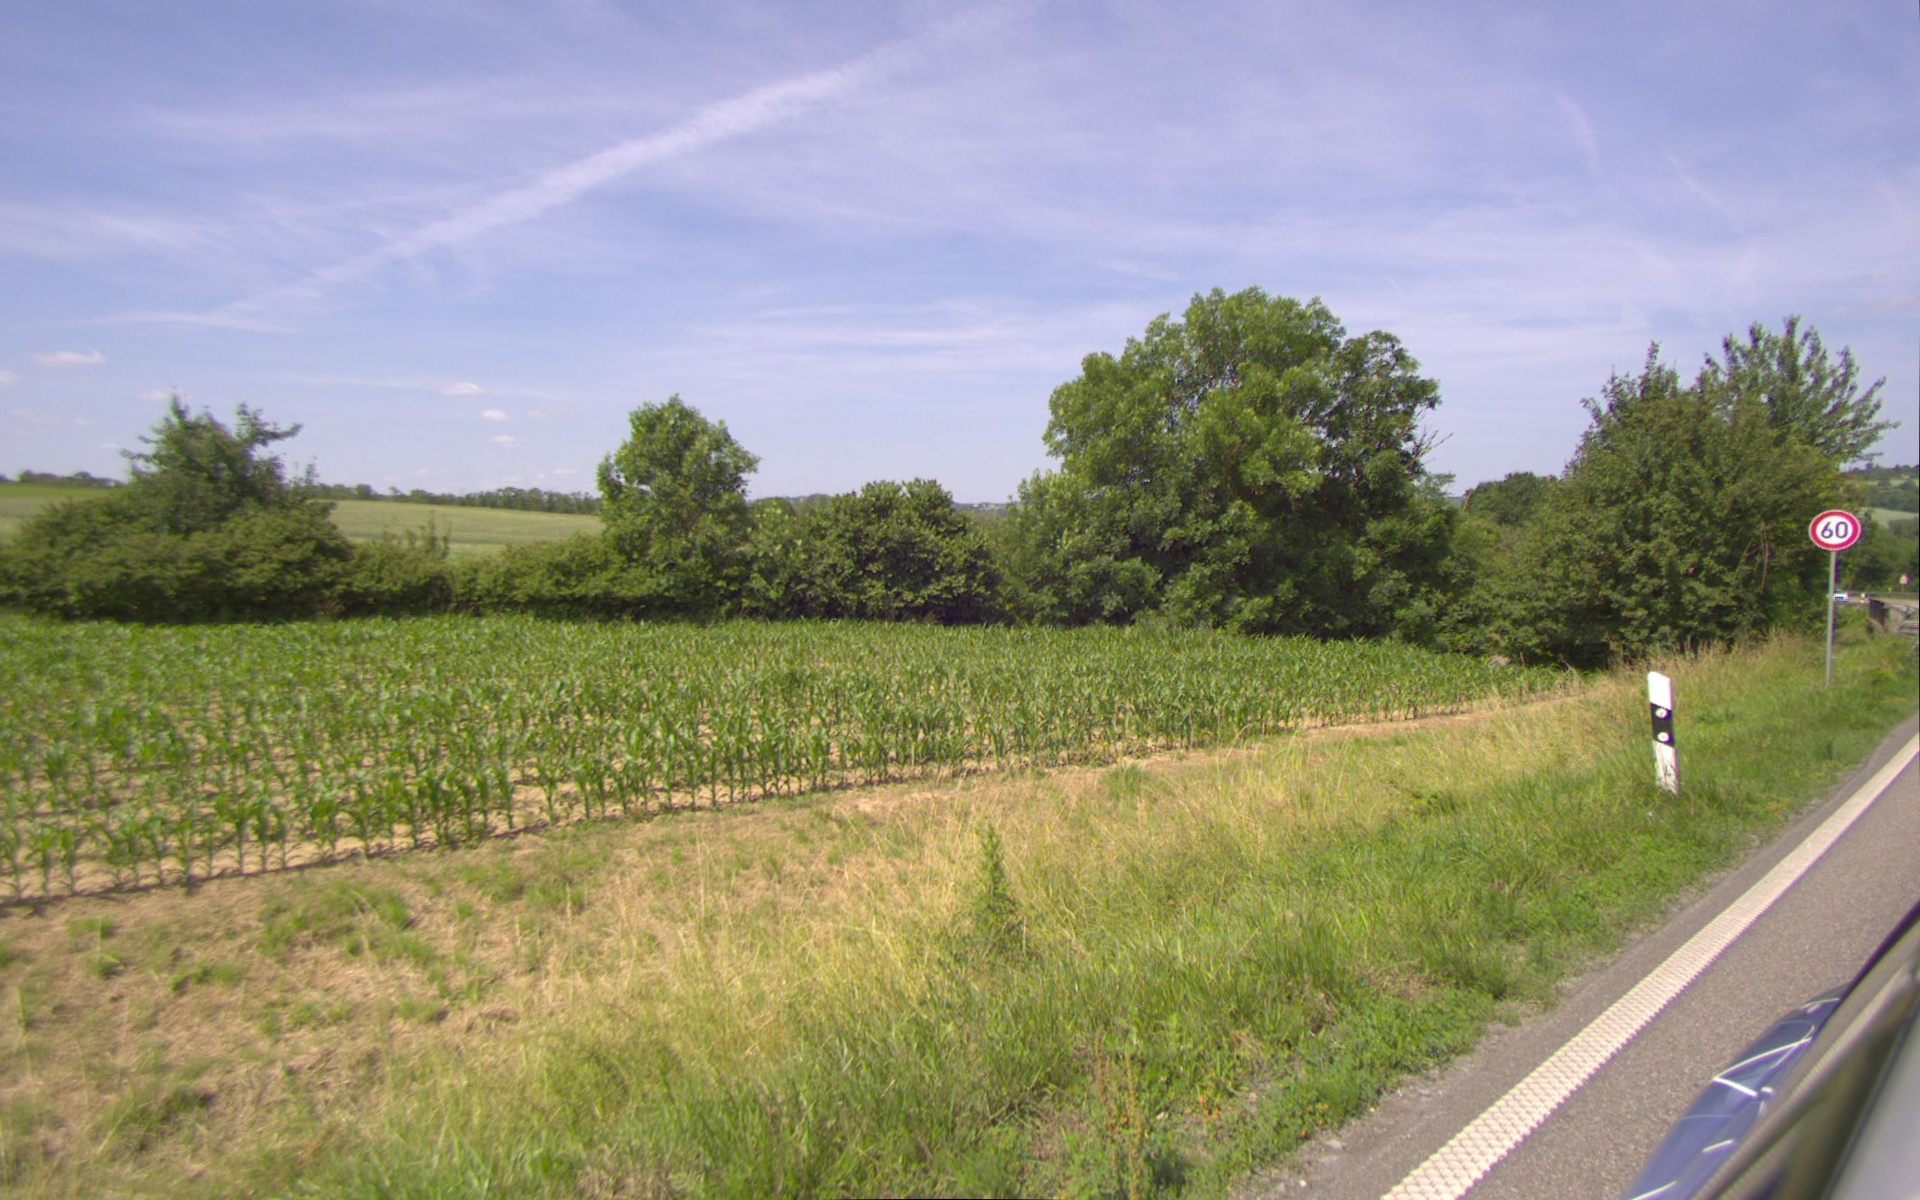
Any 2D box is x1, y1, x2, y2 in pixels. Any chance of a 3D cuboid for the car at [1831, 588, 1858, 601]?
[{"bbox_3d":[95.373,-0.586,109.119,1.698,1.393,4.545,1,1,35],"label":"car"}]
